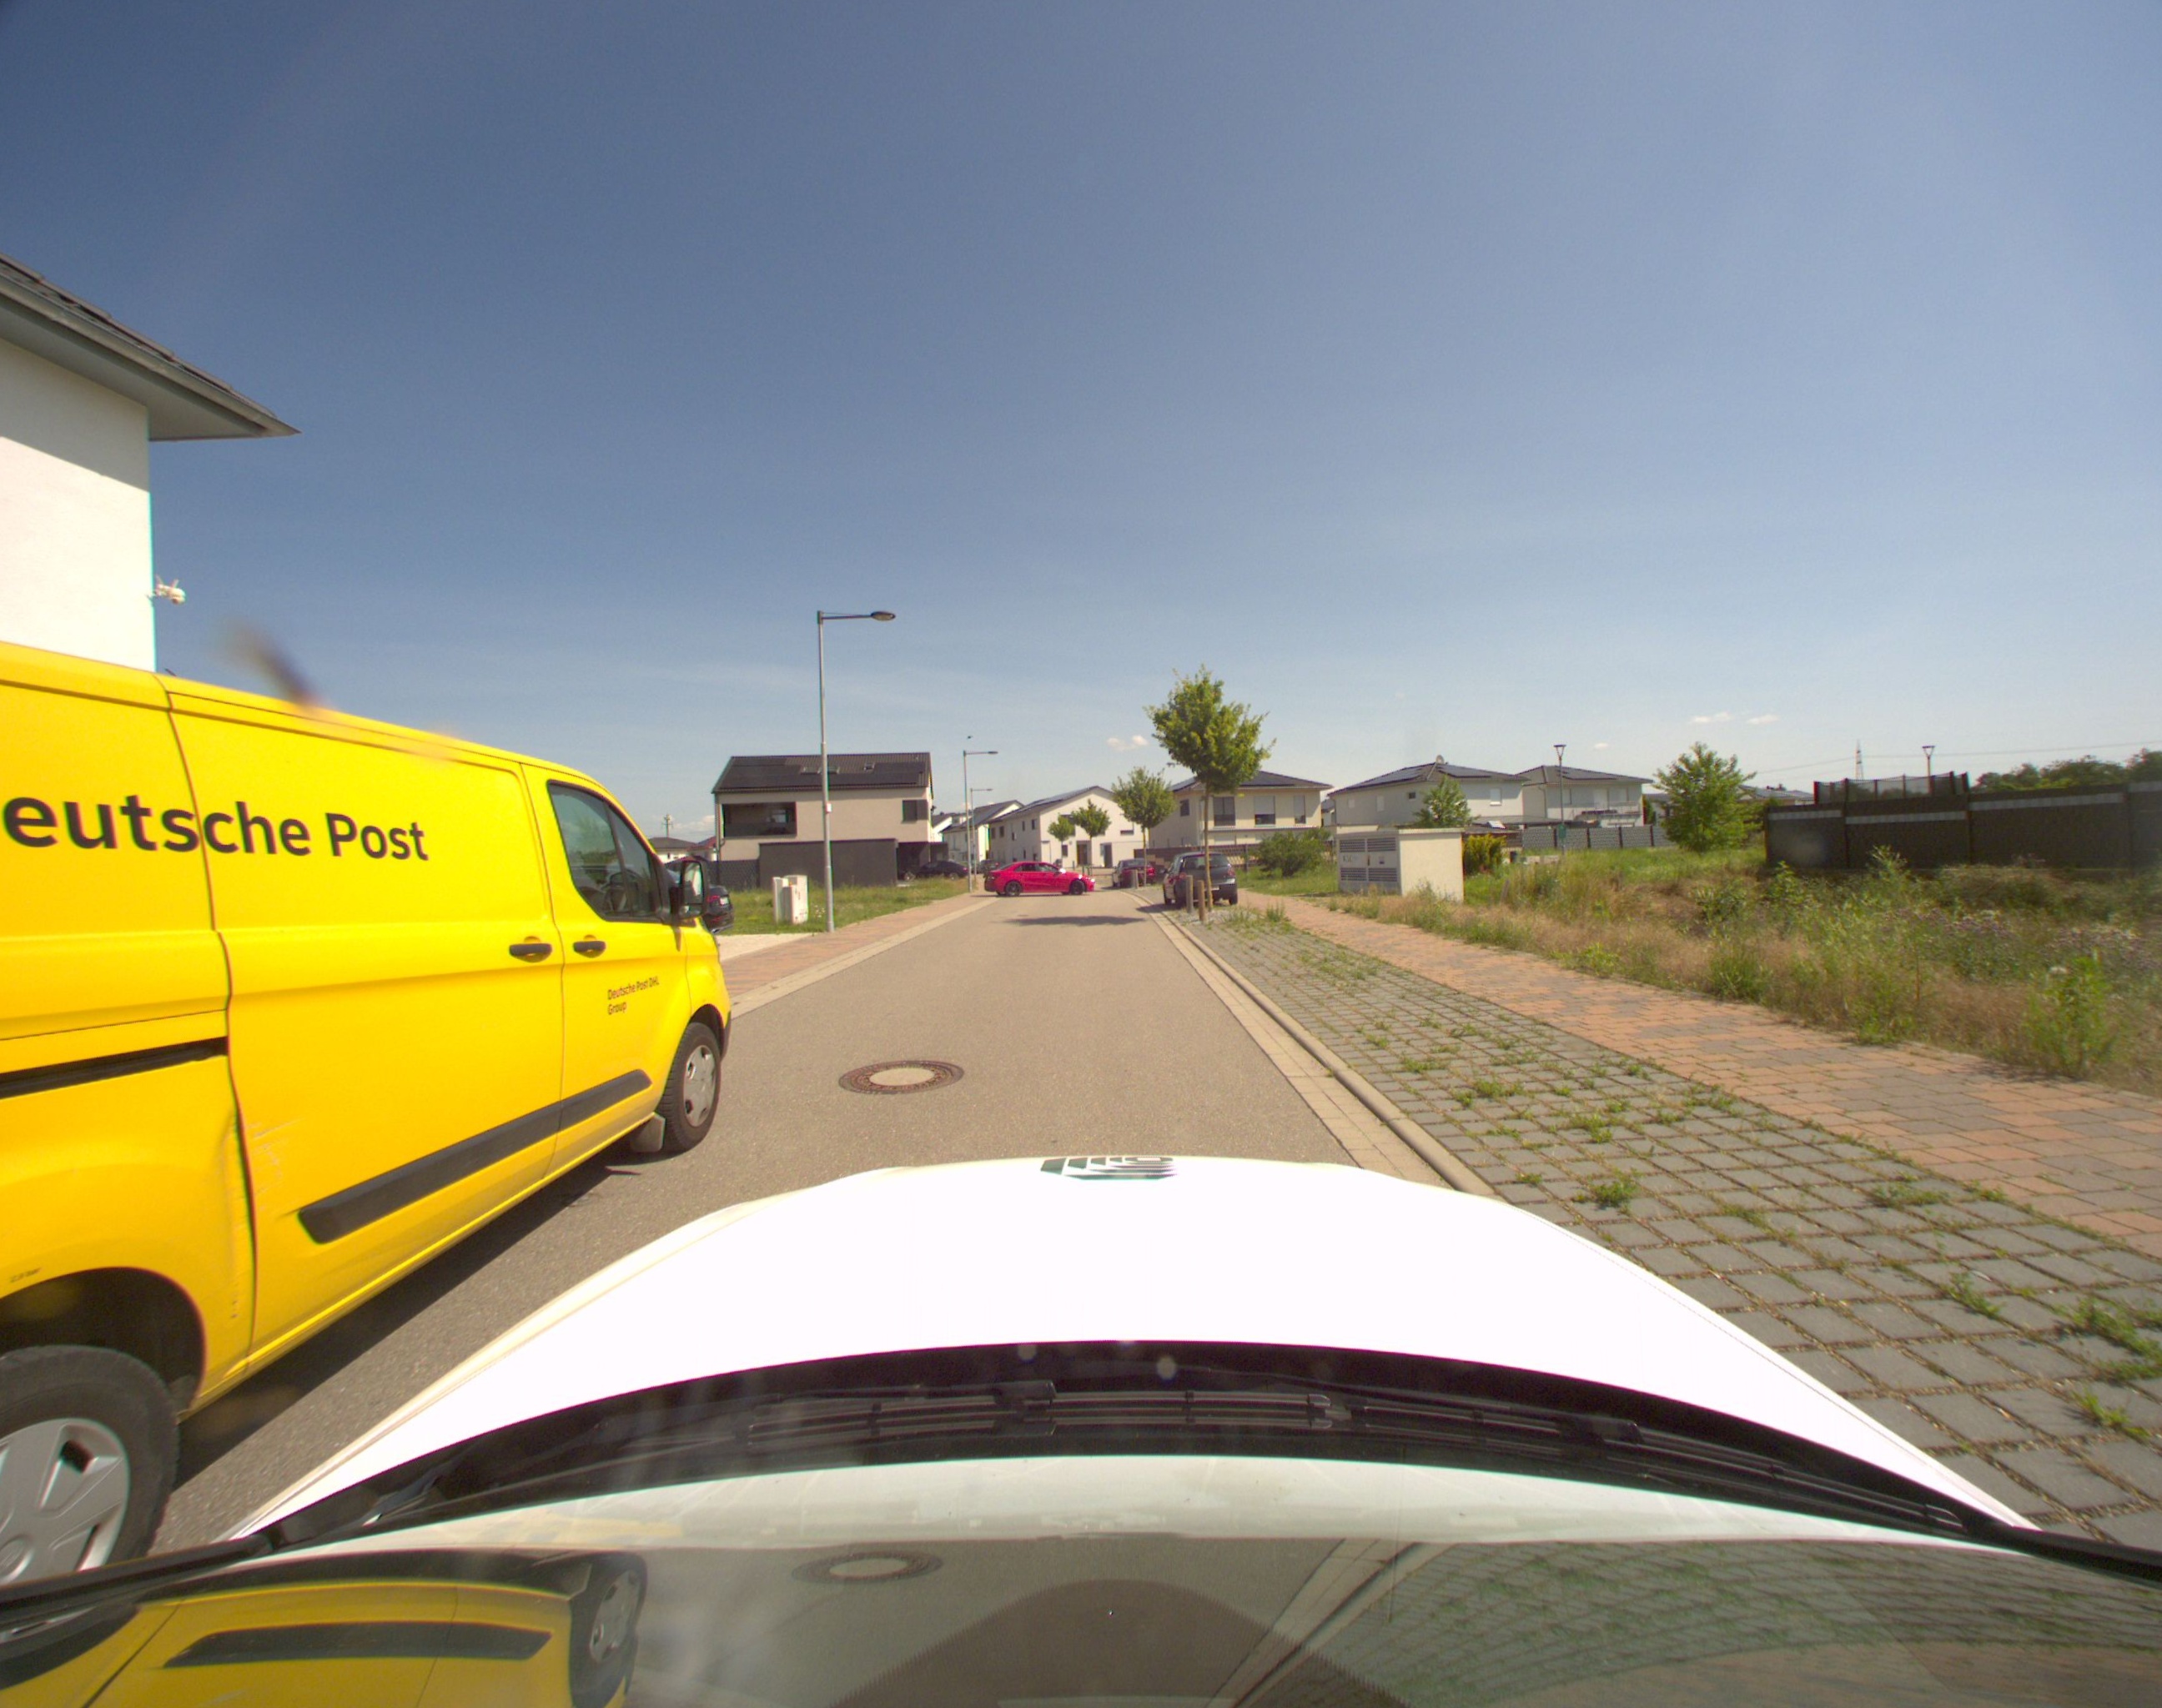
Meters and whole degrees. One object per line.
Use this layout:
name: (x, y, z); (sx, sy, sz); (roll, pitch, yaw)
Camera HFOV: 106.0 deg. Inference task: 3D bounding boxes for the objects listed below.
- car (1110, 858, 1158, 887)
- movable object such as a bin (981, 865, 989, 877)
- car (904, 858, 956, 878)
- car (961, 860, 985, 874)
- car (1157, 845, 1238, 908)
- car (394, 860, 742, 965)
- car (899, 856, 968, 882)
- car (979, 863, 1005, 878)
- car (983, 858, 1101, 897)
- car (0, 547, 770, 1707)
car: (2.636, 0.891, 41.461); (1.751, 1.363, 4.568); (-1, 0, -4)
movable object such as a bin: (-7.524, 1.329, 63.680); (0.532, 0.936, 0.526); (0, -1, 1)
car: (-12.188, 1.133, 65.933); (3.982, 1.486, 1.750); (-2, 0, -6)
car: (-12.345, 1.455, 92.942); (1.684, 1.464, 3.915); (-3, 0, -22)
car: (3.131, 0.581, 22.505); (1.593, 1.475, 3.674); (-4, 0, -1)
car: (-8.026, 0.869, 13.198); (4.397, 1.452, 1.741); (-1, -1, -13)
car: (-9.592, 0.966, 53.321); (4.373, 1.631, 1.766); (0, -1, -8)
car: (-9.204, 1.674, 83.765); (1.732, 1.423, 3.974); (-3, 0, -19)
car: (-1.620, 0.935, 33.419); (4.520, 1.438, 1.756); (-1, 0, -20)
car: (-2.840, 0.511, 2.804); (1.880, 2.014, 4.835); (-1, 0, -3)
